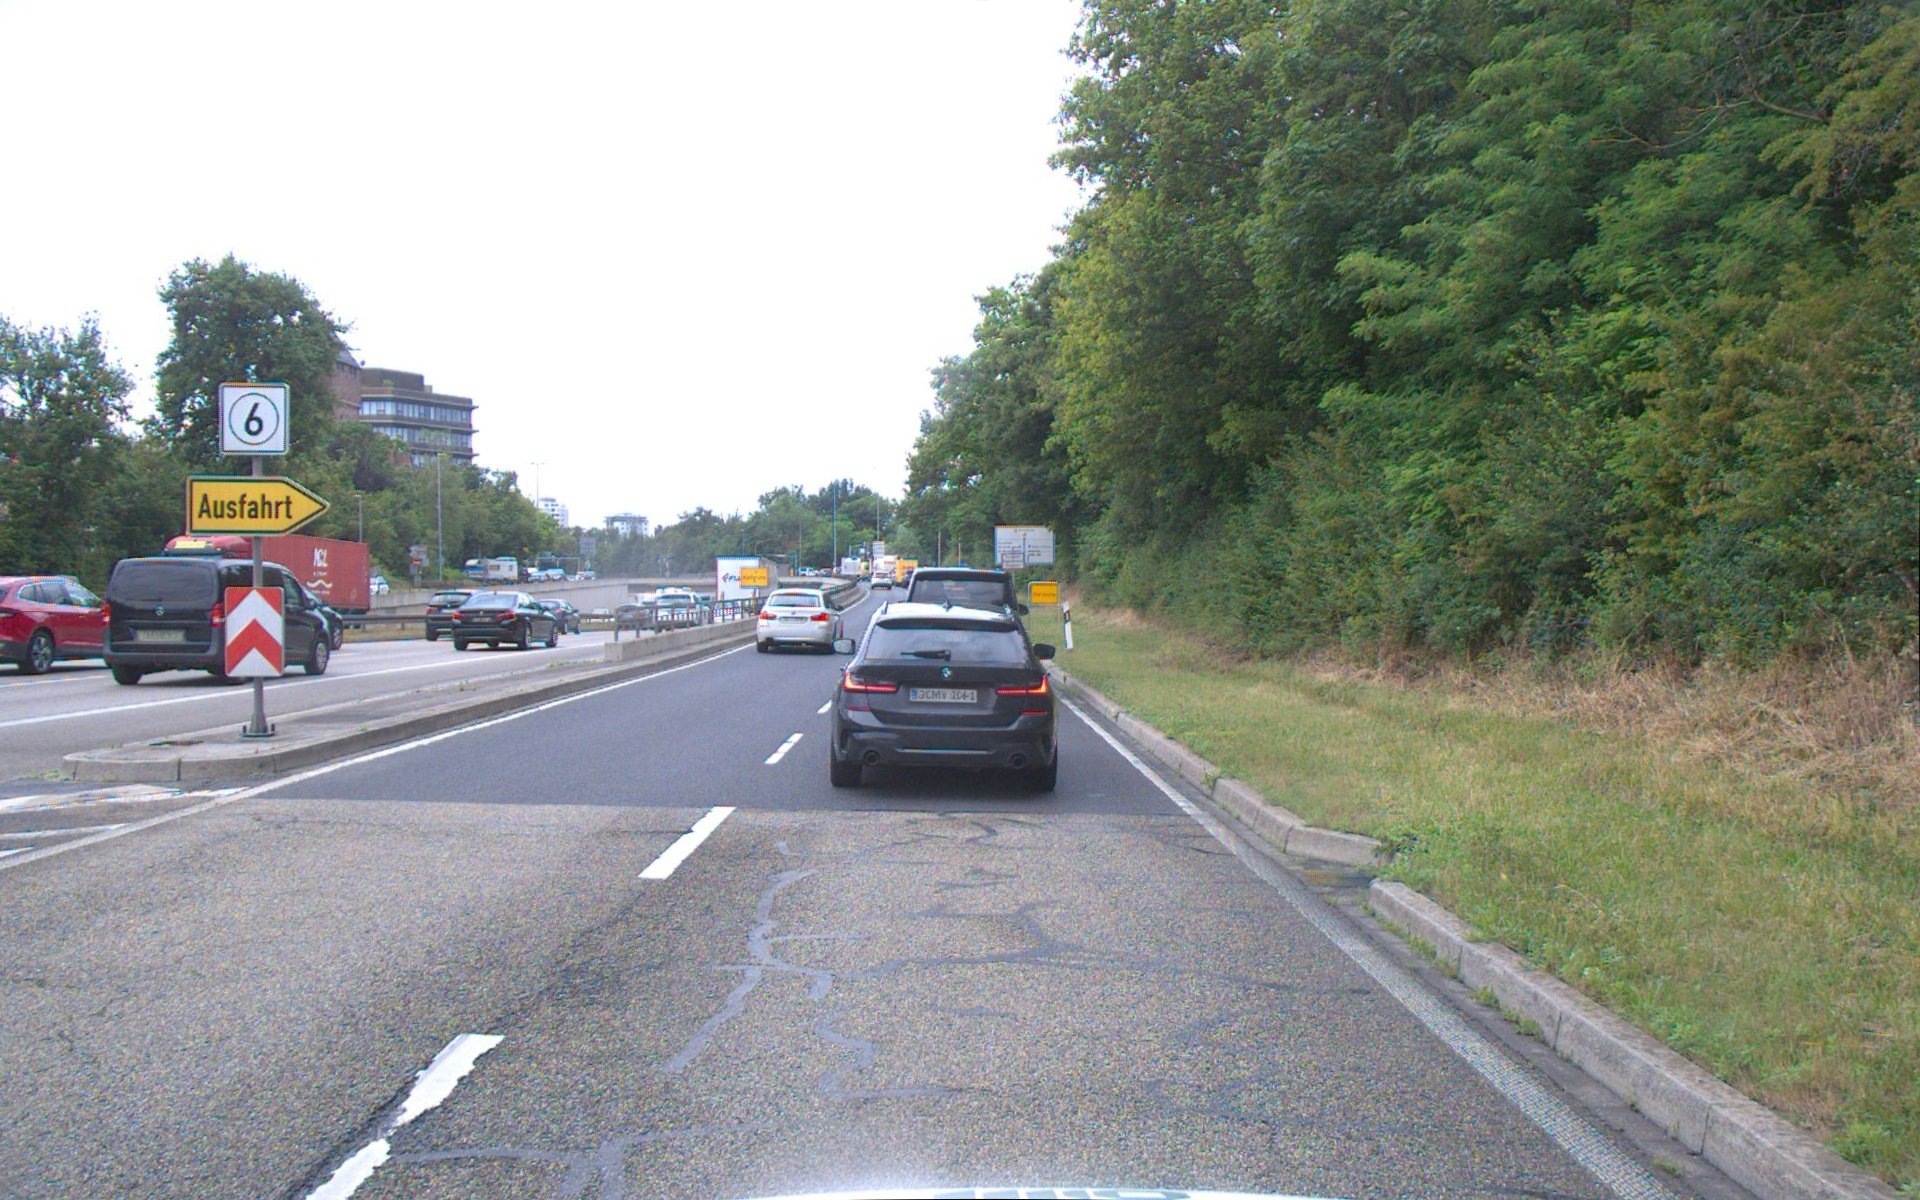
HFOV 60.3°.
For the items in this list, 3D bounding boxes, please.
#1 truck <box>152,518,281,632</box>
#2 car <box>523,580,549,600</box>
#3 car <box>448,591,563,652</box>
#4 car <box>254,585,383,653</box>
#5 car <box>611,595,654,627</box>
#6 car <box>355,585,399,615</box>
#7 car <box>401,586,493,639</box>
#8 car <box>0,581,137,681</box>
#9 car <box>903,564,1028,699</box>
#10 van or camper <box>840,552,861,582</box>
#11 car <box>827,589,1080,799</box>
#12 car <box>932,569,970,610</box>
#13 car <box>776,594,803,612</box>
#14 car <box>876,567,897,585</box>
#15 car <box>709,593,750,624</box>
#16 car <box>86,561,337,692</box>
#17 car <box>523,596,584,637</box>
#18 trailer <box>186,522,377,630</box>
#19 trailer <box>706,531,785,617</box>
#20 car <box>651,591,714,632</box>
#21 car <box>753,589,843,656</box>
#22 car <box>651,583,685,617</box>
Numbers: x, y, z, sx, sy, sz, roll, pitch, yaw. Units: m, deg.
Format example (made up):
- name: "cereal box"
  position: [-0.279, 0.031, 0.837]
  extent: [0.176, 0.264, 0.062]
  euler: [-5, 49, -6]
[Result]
- name: "truck"
  position: [-28.053, -0.906, 62.628]
  extent: [2.707, 4.135, 4.906]
  euler: [0, 0, -1]
- name: "car"
  position: [-40.314, -0.928, 157.242]
  extent: [1.622, 1.868, 3.621]
  euler: [0, 0, -1]
- name: "car"
  position: [-11.739, 0.523, 43.011]
  extent: [1.677, 1.482, 4.666]
  euler: [1, 0, 0]
- name: "car"
  position: [-16.599, 0.465, 43.002]
  extent: [1.716, 1.664, 4.266]
  euler: [1, 0, -1]
- name: "car"
  position: [-17.697, 0.566, 89.408]
  extent: [1.653, 1.660, 3.733]
  euler: [2, 0, -2]
- name: "car"
  position: [-37.605, -0.005, 106.673]
  extent: [1.650, 1.848, 3.428]
  euler: [0, 0, -1]
- name: "car"
  position: [-17.177, 0.391, 55.575]
  extent: [1.852, 1.711, 4.305]
  euler: [0, 0, -2]
- name: "car"
  position: [-15.950, 0.489, 28.304]
  extent: [1.730, 1.595, 3.945]
  euler: [0, 0, 0]
- name: "car"
  position: [0.066, 0.444, 25.534]
  extent: [1.759, 1.904, 3.999]
  euler: [1, 0, -1]
- name: "van or camper"
  position: [-10.523, -3.158, 159.793]
  extent: [1.954, 2.870, 3.998]
  euler: [0, 0, -3]
- name: "car"
  position: [-0.126, 0.676, 13.989]
  extent: [1.809, 1.492, 3.998]
  euler: [1, 0, -2]
- name: "car"
  position: [-0.363, -0.395, 65.146]
  extent: [1.423, 1.567, 3.224]
  euler: [0, 0, -1]
- name: "car"
  position: [-20.896, 0.362, 202.502]
  extent: [3.143, 2.063, 5.067]
  euler: [0, 0, -8]
- name: "car"
  position: [-7.038, -2.303, 158.692]
  extent: [1.891, 1.624, 3.877]
  euler: [0, 0, 0]
- name: "car"
  position: [-12.001, 0.428, 86.146]
  extent: [1.733, 1.577, 3.491]
  euler: [0, 0, -2]
- name: "car"
  position: [-11.788, 0.377, 26.459]
  extent: [1.953, 1.883, 4.810]
  euler: [1, 0, -2]
- name: "car"
  position: [-17.309, 0.694, 70.585]
  extent: [1.653, 1.636, 4.006]
  euler: [2, 0, -2]
- name: "trailer"
  position: [-28.151, -0.945, 69.582]
  extent: [2.708, 4.135, 13.351]
  euler: [0, 0, -1]
- name: "trailer"
  position: [-12.931, -1.512, 101.140]
  extent: [3.069, 4.807, 14.555]
  euler: [1, 0, -1]
- name: "car"
  position: [-11.771, 0.461, 70.418]
  extent: [1.906, 1.721, 4.506]
  euler: [0, 0, 0]
- name: "car"
  position: [-3.870, 0.505, 40.127]
  extent: [1.821, 1.489, 4.883]
  euler: [1, 0, -2]
- name: "car"
  position: [-18.043, 0.010, 102.242]
  extent: [1.414, 2.080, 3.680]
  euler: [0, 0, 0]
